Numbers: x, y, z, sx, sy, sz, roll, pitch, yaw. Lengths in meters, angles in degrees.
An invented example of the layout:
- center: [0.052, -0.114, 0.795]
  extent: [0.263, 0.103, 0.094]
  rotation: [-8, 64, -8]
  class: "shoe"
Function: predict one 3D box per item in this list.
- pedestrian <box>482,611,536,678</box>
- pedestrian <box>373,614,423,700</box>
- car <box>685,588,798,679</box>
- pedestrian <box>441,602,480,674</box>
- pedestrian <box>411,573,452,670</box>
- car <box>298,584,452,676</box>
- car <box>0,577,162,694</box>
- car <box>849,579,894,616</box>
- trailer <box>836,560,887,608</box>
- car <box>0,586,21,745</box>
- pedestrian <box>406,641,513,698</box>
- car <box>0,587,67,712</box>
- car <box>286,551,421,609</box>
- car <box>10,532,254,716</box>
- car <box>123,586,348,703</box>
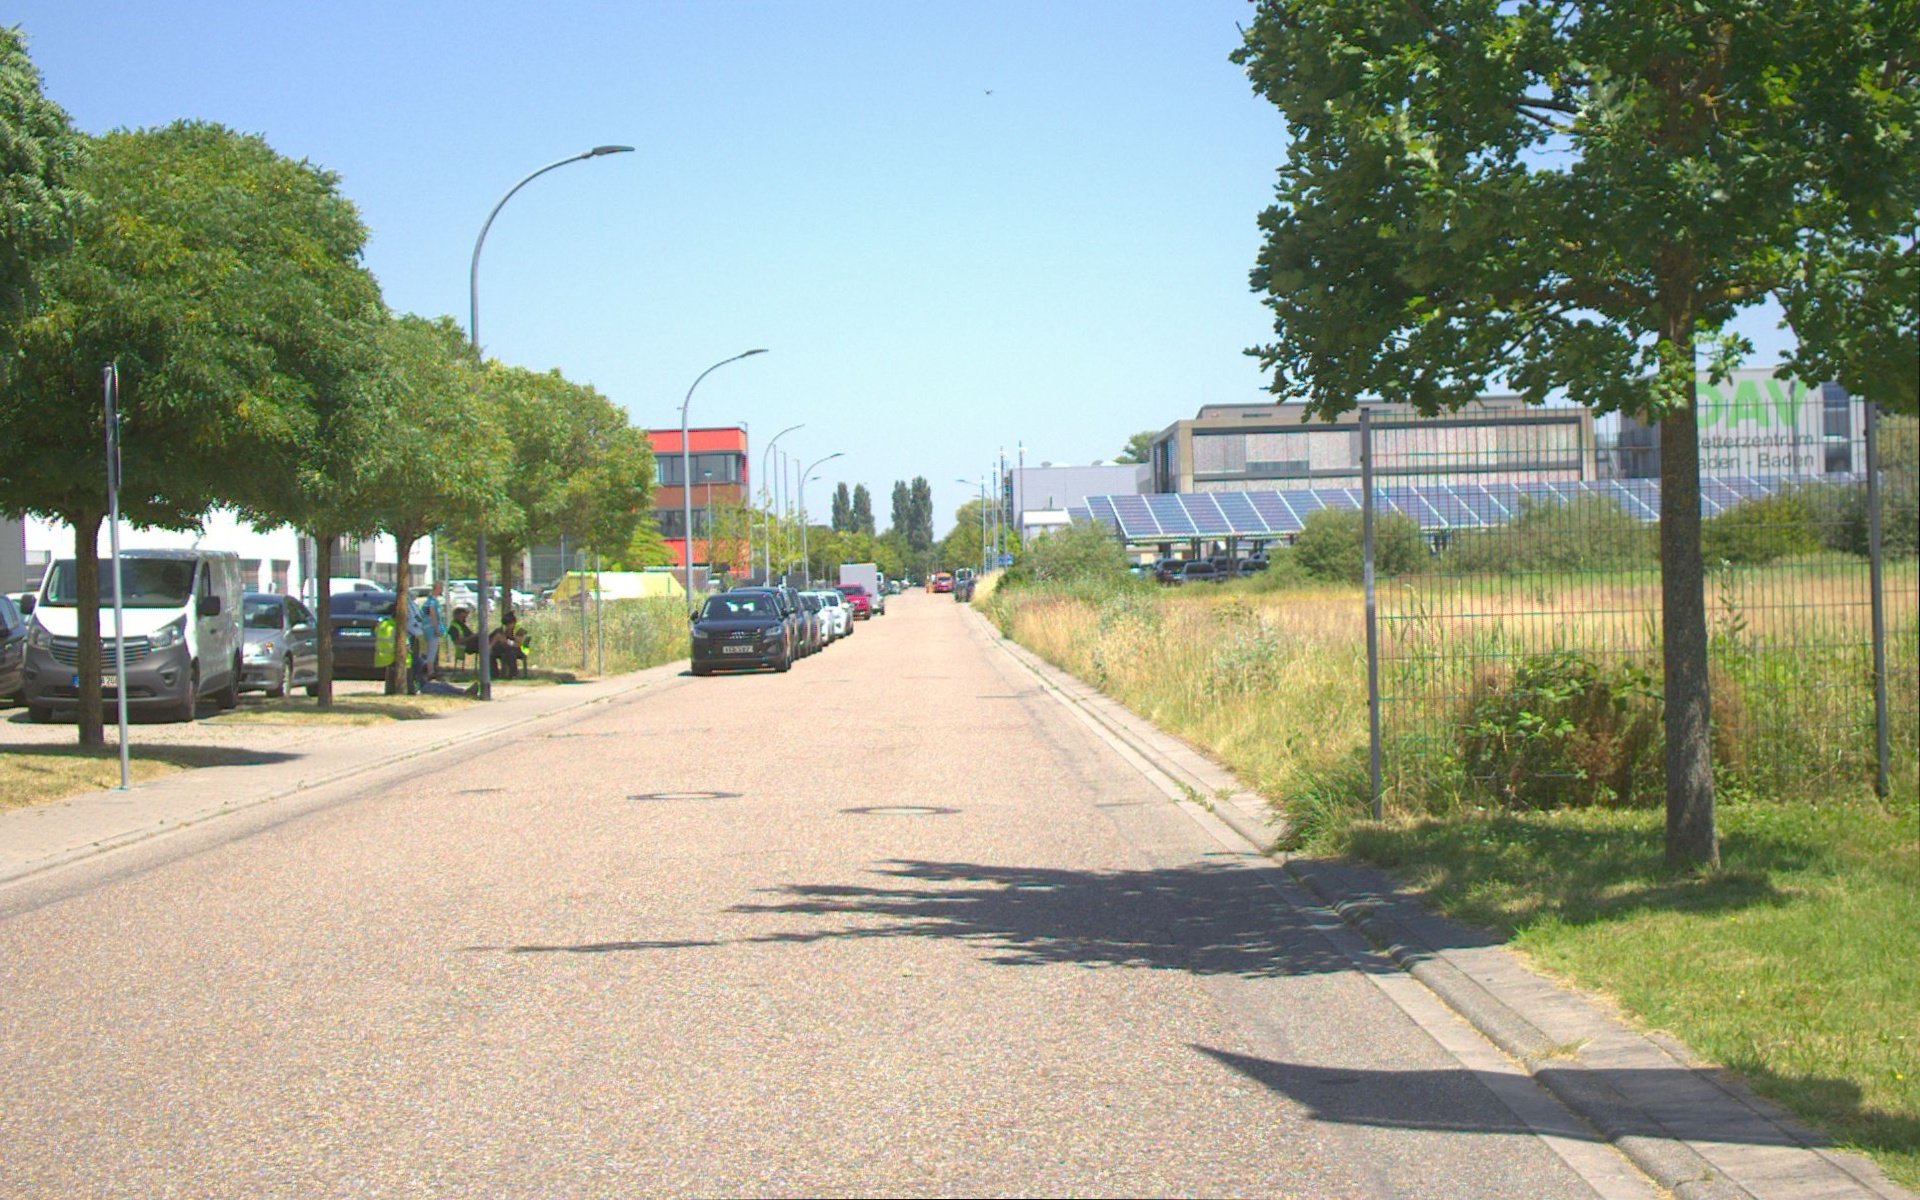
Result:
- center: [-7.506, 0.741, 57.252]
  extent: [0.750, 1.095, 0.646]
  rotation: [1, 0, 4]
  class: "pedestrian"
- center: [-7.655, 0.776, 46.850]
  extent: [0.479, 1.146, 0.555]
  rotation: [1, -2, 10]
  class: "pedestrian"
- center: [-4.092, 0.600, 64.916]
  extent: [1.926, 1.562, 4.190]
  rotation: [-2, 1, -2]
  class: "car"
- center: [-8.494, 0.643, 58.435]
  extent: [0.506, 1.187, 0.753]
  rotation: [1, 0, 2]
  class: "pedestrian"
- center: [-8.758, 0.347, 56.958]
  extent: [0.506, 1.590, 0.753]
  rotation: [1, 0, 2]
  class: "pedestrian"
- center: [-9.929, 0.478, 58.652]
  extent: [1.926, 1.459, 4.692]
  rotation: [1, 1, -2]
  class: "car"
- center: [-12.268, 0.441, 46.360]
  extent: [1.927, 1.459, 4.465]
  rotation: [1, 1, 0]
  class: "car"
- center: [-3.784, -0.119, 147.560]
  extent: [1.787, 1.515, 3.982]
  rotation: [-2, 0, 0]
  class: "car"
- center: [-4.548, -0.737, 158.924]
  extent: [2.201, 2.130, 4.285]
  rotation: [-2, 0, 0]
  class: "trailer"
- center: [-9.641, 0.616, 29.712]
  extent: [1.765, 1.448, 4.714]
  rotation: [-1, 0, 0]
  class: "car"
- center: [-6.986, 0.962, 48.054]
  extent: [1.358, 0.746, 0.753]
  rotation: [1, 0, 2]
  class: "pedestrian"
- center: [-12.221, 0.569, 41.483]
  extent: [1.926, 1.435, 4.087]
  rotation: [1, 1, -2]
  class: "car"
- center: [-22.132, -0.740, 125.579]
  extent: [4.528, 1.936, 2.031]
  rotation: [-2, 0, 0]
  class: "car"
- center: [-9.682, 0.247, 40.570]
  extent: [1.837, 2.012, 5.126]
  rotation: [-1, 0, -2]
  class: "car"
- center: [-9.676, 0.598, 46.279]
  extent: [1.927, 1.436, 4.841]
  rotation: [-2, -1, 0]
  class: "car"
